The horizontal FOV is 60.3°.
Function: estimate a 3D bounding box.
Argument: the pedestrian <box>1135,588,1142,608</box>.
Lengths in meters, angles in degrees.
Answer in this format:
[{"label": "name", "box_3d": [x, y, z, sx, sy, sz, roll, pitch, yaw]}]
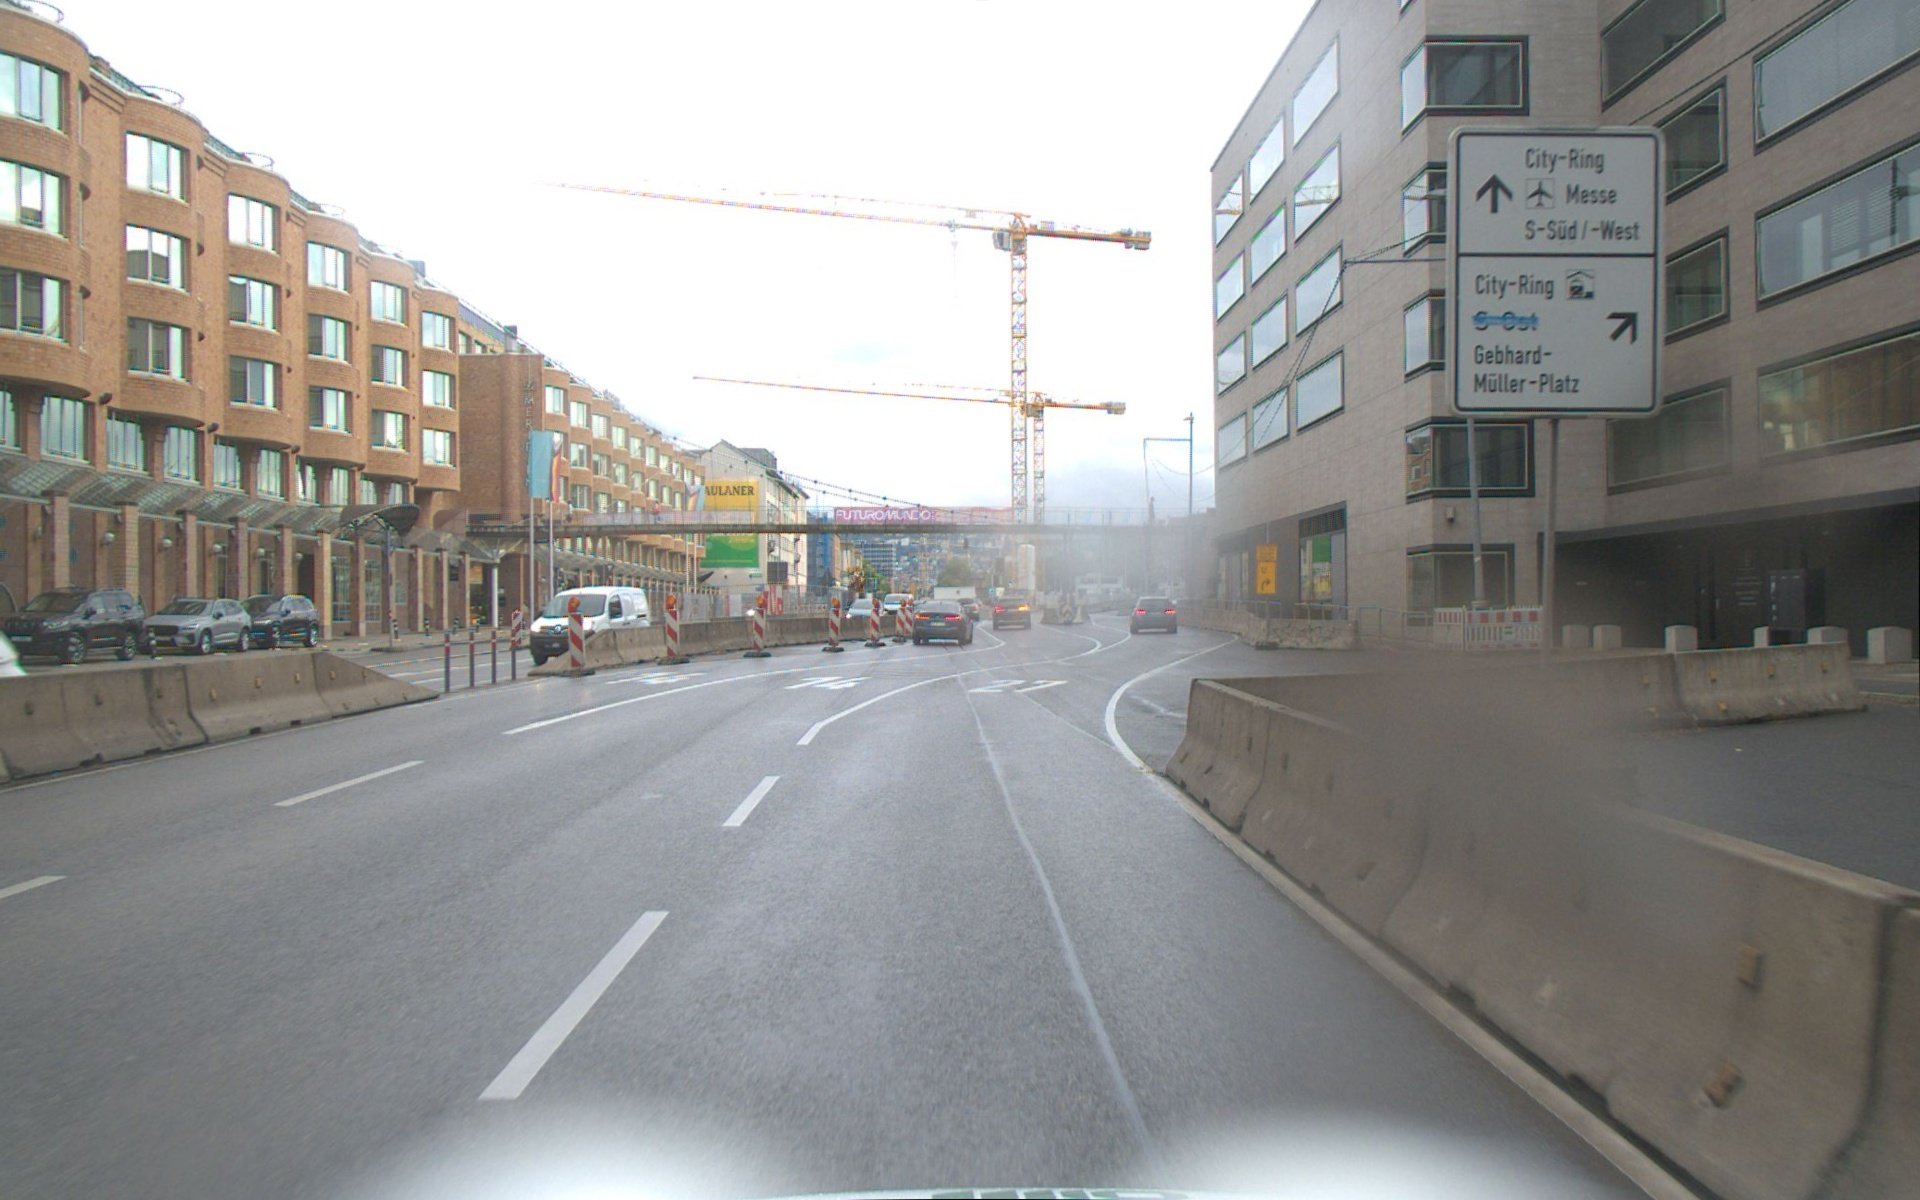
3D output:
[{"label": "pedestrian", "box_3d": [18.148, -0.238, 168.416, 0.613, 2.049, 0.664, -1, 0, 12]}]

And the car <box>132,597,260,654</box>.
[{"label": "car", "box_3d": [-23.119, 0.739, 50.224, 1.954, 1.621, 4.537, 0, 0, -3]}]

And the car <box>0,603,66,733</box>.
[{"label": "car", "box_3d": [-10.076, 0.668, 15.326, 1.579, 1.253, 3.726, 0, 0, 0]}]

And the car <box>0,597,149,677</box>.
[{"label": "car", "box_3d": [-23.019, 0.903, 42.609, 1.954, 1.919, 5.011, 0, 0, -3]}]

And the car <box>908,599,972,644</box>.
[{"label": "car", "box_3d": [-0.637, 0.705, 56.378, 1.824, 1.468, 4.658, 0, 0, 3]}]

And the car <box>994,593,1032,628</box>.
[{"label": "car", "box_3d": [2.635, 0.502, 82.470, 1.824, 1.690, 4.657, 0, 0, 2]}]

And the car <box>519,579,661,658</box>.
[{"label": "car", "box_3d": [-9.011, 0.431, 40.704, 1.846, 1.814, 4.881, 0, 0, 7]}]

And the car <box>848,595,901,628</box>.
[{"label": "car", "box_3d": [-3.932, 0.505, 76.568, 1.952, 1.485, 4.230, 0, 0, 3]}]

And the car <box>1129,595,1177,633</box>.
[{"label": "car", "box_3d": [7.668, 0.518, 66.063, 1.823, 1.458, 4.659, 0, 0, 6]}]

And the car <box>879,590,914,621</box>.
[{"label": "car", "box_3d": [-3.939, 0.334, 103.119, 1.953, 1.918, 4.870, 0, 0, 0]}]

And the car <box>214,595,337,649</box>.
[{"label": "car", "box_3d": [-23.130, 0.702, 56.106, 1.952, 1.720, 5.050, 0, 0, 1]}]

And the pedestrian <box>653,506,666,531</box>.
[{"label": "pedestrian", "box_3d": [-18.161, -4.948, 100.001, 0.607, 1.477, 0.618, -2, 0, 3]}]

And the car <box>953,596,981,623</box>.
[{"label": "car", "box_3d": [0.484, 0.654, 114.651, 1.825, 1.796, 4.655, 0, 0, -1]}]

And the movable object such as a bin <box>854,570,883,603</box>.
[{"label": "movable object such as a bin", "box_3d": [-6.833, -0.999, 124.026, 1.987, 2.317, 4.290, -4, 0, -3]}]
